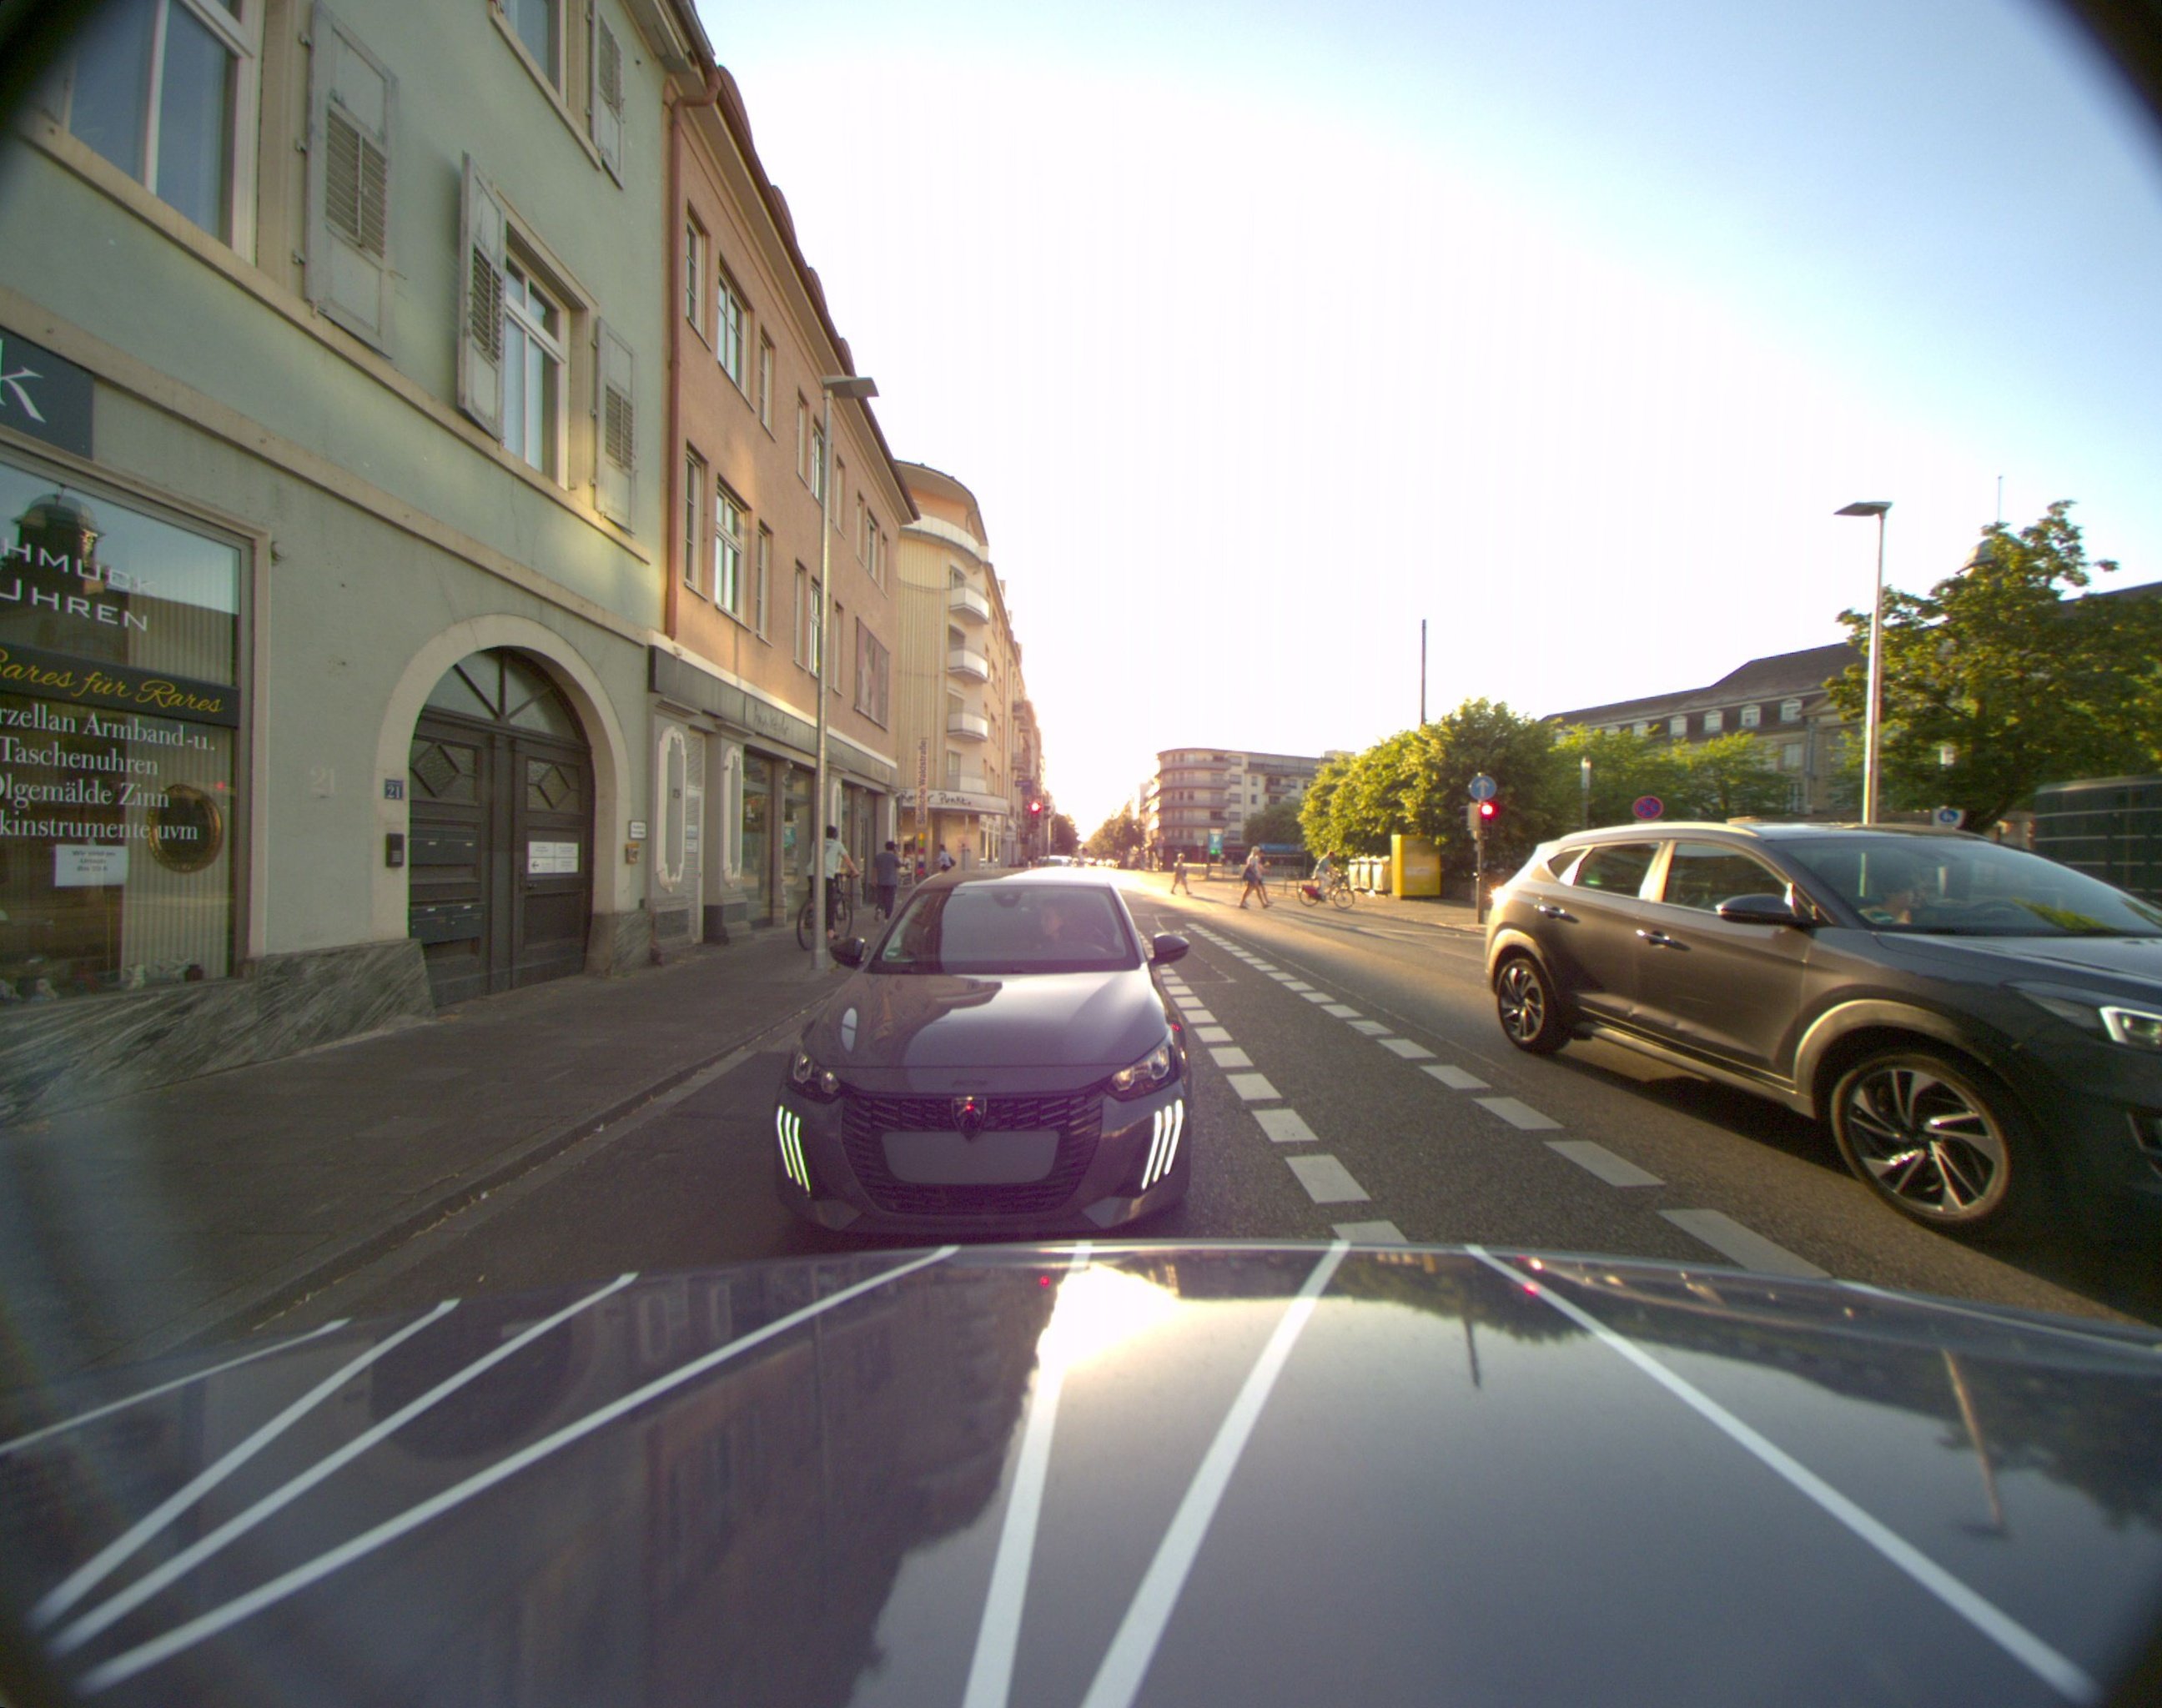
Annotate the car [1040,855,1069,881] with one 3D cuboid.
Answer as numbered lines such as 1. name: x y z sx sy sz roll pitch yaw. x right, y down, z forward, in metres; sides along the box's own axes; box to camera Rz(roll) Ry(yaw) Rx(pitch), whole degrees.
1. car: -1.738 0.914 51.055 1.821 1.611 4.203 0 0 0

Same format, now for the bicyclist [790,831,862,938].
1. bicyclist: -3.705 0.426 11.085 0.724 1.499 0.900 1 0 1

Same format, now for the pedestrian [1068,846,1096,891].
1. pedestrian: 0.044 0.569 31.039 0.872 1.806 0.824 1 0 -23

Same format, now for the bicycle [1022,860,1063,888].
1. bicycle: -1.807 0.919 35.112 1.849 1.232 0.639 1 0 -5

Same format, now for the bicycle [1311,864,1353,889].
1. bicycle: 13.149 1.188 39.792 2.031 1.245 0.548 -1 0 -4

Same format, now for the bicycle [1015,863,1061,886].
1. bicycle: -2.123 1.003 37.443 2.176 1.069 0.805 2 0 -7

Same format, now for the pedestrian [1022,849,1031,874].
1. pedestrian: -4.362 0.581 60.670 0.673 2.002 0.851 0 1 0

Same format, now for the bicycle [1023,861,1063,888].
1. bicycle: -1.808 0.967 35.860 1.788 1.166 0.622 2 0 -11

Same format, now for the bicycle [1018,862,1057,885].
1. bicycle: -2.217 0.991 38.442 1.851 1.117 0.594 2 1 -11

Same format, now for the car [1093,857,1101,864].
1. car: 3.721 1.521 177.570 1.790 1.458 3.956 2 0 -1

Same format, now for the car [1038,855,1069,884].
1. car: -1.630 0.872 44.702 1.702 1.607 4.682 0 0 -2

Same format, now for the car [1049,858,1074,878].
1. car: -1.407 1.006 56.626 1.738 1.448 4.610 0 0 1

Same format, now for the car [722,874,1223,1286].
1. car: -0.453 0.923 5.142 1.908 1.438 4.449 0 0 -1

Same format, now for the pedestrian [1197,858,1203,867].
1. pedestrian: 17.439 1.266 111.360 0.732 1.314 0.889 0 0 -1

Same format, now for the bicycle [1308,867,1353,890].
1. bicycle: 12.466 1.209 37.983 2.031 1.128 0.548 -1 0 -4

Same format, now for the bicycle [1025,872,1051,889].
1. bicycle: -1.890 1.163 33.382 1.008 0.677 1.049 1 0 -9

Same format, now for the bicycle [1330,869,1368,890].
1. bicycle: 13.113 1.232 37.235 1.678 0.973 0.548 -1 0 -4

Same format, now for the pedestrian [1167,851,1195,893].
1. pedestrian: 3.989 0.701 30.240 0.789 1.643 0.782 1 1 43

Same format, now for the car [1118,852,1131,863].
1. car: 7.696 0.614 135.718 1.999 1.805 3.999 1 0 -2

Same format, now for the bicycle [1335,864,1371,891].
1. bicycle: 13.198 1.128 36.848 1.590 1.245 0.445 -1 0 -2

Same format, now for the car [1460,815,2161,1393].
1. car: 4.093 0.762 4.047 1.877 1.679 4.449 2 0 0

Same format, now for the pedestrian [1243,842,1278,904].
1. pedestrian: 5.591 0.591 23.753 0.939 1.886 0.826 1 0 6

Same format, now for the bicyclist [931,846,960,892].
1. bicyclist: -5.095 0.552 28.556 0.777 1.714 0.856 1 0 15

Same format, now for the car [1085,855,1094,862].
1. car: 2.166 1.121 192.988 1.878 1.621 4.177 3 -1 -5

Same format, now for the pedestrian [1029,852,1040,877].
1. pedestrian: -3.716 0.825 60.704 0.763 2.002 0.851 0 0 0

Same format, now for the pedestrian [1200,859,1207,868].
1. pedestrian: 18.042 1.323 111.680 0.689 1.314 0.819 0 0 -24

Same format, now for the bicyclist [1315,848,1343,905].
1. bicyclist: 8.117 0.723 24.898 0.834 1.815 0.832 1 0 18

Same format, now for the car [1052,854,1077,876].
1. car: -1.298 0.882 62.228 1.877 1.664 4.430 0 0 0

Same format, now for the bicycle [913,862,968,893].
1. bicycle: -5.273 0.875 28.592 1.917 1.111 0.706 1 0 17

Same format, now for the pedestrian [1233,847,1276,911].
1. pedestrian: 4.951 0.706 21.752 1.099 1.764 0.826 1 0 7

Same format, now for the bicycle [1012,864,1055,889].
1. bicycle: -2.137 0.997 34.174 1.788 1.057 0.718 2 0 -11

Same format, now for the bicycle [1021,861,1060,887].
1. bicycle: -1.944 0.955 36.491 1.788 1.166 0.622 2 0 -11

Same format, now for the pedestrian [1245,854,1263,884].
1. pedestrian: 10.510 0.888 46.187 0.950 1.806 0.827 1 0 22

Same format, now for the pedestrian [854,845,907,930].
1. pedestrian: -3.981 0.655 15.162 0.825 1.632 0.871 1 0 -2

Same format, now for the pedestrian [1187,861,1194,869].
1. pedestrian: 15.824 1.537 109.829 0.887 1.185 0.733 0 0 9

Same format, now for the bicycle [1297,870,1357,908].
1. bicycle: 8.044 1.132 24.890 1.822 1.179 0.794 1 0 17

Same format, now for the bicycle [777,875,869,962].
1. bicycle: -3.715 0.895 11.117 0.692 1.100 1.896 1 0 0

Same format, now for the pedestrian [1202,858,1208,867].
1. pedestrian: 18.191 1.275 111.373 0.732 1.314 0.888 0 0 -2
